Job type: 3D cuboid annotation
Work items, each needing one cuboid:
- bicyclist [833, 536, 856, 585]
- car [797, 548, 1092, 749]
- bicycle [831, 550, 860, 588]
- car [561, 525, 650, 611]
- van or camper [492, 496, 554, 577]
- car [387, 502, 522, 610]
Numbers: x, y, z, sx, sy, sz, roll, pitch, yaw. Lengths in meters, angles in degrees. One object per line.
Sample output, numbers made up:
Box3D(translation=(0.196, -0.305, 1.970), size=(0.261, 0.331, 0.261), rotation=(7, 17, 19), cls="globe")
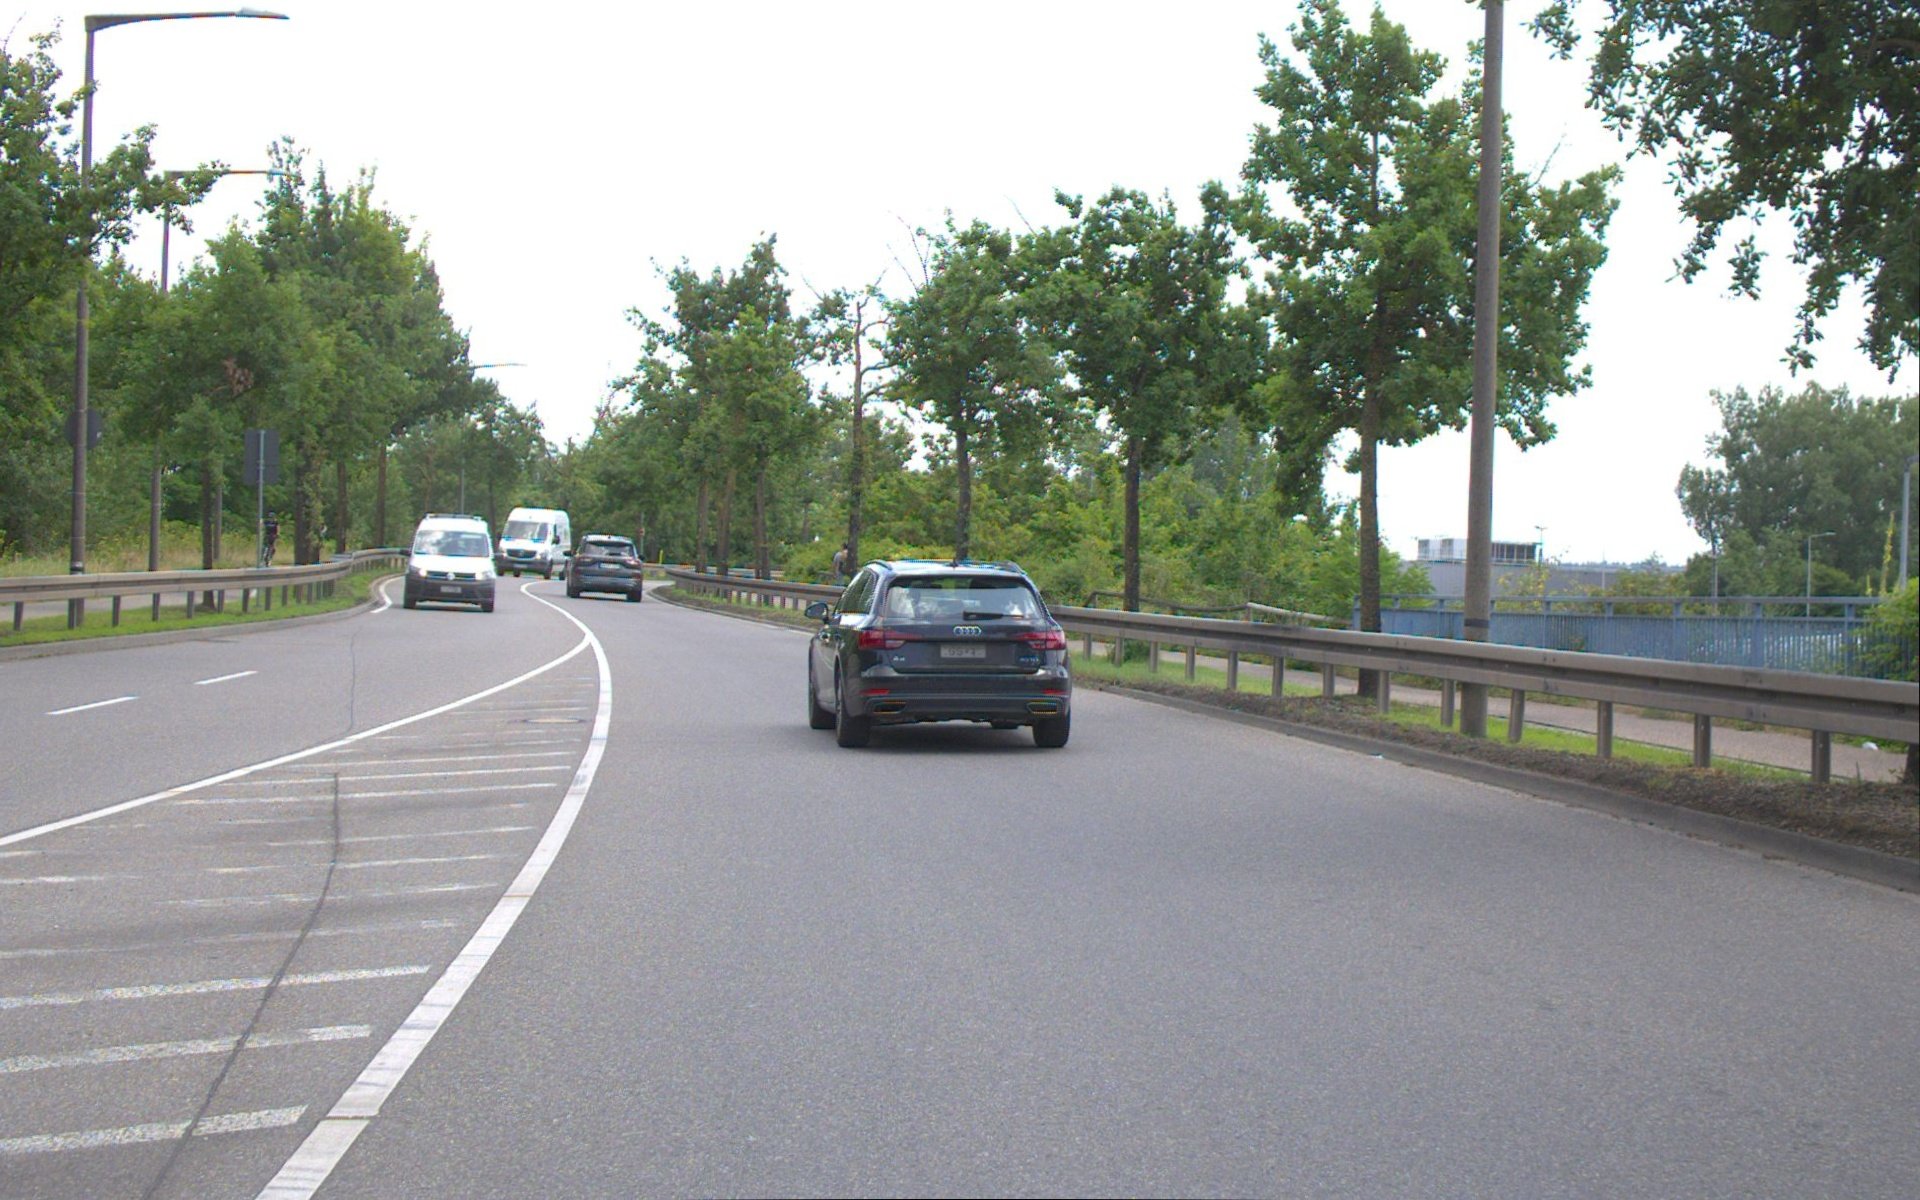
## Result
Box3D(translation=(-2.796, -0.960, 83.157), size=(0.473, 1.164, 0.827), rotation=(1, 1, -5), cls="bicyclist")
Box3D(translation=(-0.222, 0.348, 27.593), size=(1.993, 1.386, 4.576), rotation=(3, 0, -4), cls="car")
Box3D(translation=(-2.776, -0.750, 83.232), size=(0.542, 0.863, 1.750), rotation=(4, -1, -5), cls="bicycle")
Box3D(translation=(-9.192, -0.807, 89.538), size=(1.993, 2.030, 4.713), rotation=(2, -2, -3), cls="car")
Box3D(translation=(-16.173, -2.314, 127.029), size=(1.993, 2.741, 5.387), rotation=(4, -1, -9), cls="van or camper")
Box3D(translation=(-10.049, -0.901, 68.618), size=(1.993, 2.007, 4.559), rotation=(2, 1, -1), cls="car")
